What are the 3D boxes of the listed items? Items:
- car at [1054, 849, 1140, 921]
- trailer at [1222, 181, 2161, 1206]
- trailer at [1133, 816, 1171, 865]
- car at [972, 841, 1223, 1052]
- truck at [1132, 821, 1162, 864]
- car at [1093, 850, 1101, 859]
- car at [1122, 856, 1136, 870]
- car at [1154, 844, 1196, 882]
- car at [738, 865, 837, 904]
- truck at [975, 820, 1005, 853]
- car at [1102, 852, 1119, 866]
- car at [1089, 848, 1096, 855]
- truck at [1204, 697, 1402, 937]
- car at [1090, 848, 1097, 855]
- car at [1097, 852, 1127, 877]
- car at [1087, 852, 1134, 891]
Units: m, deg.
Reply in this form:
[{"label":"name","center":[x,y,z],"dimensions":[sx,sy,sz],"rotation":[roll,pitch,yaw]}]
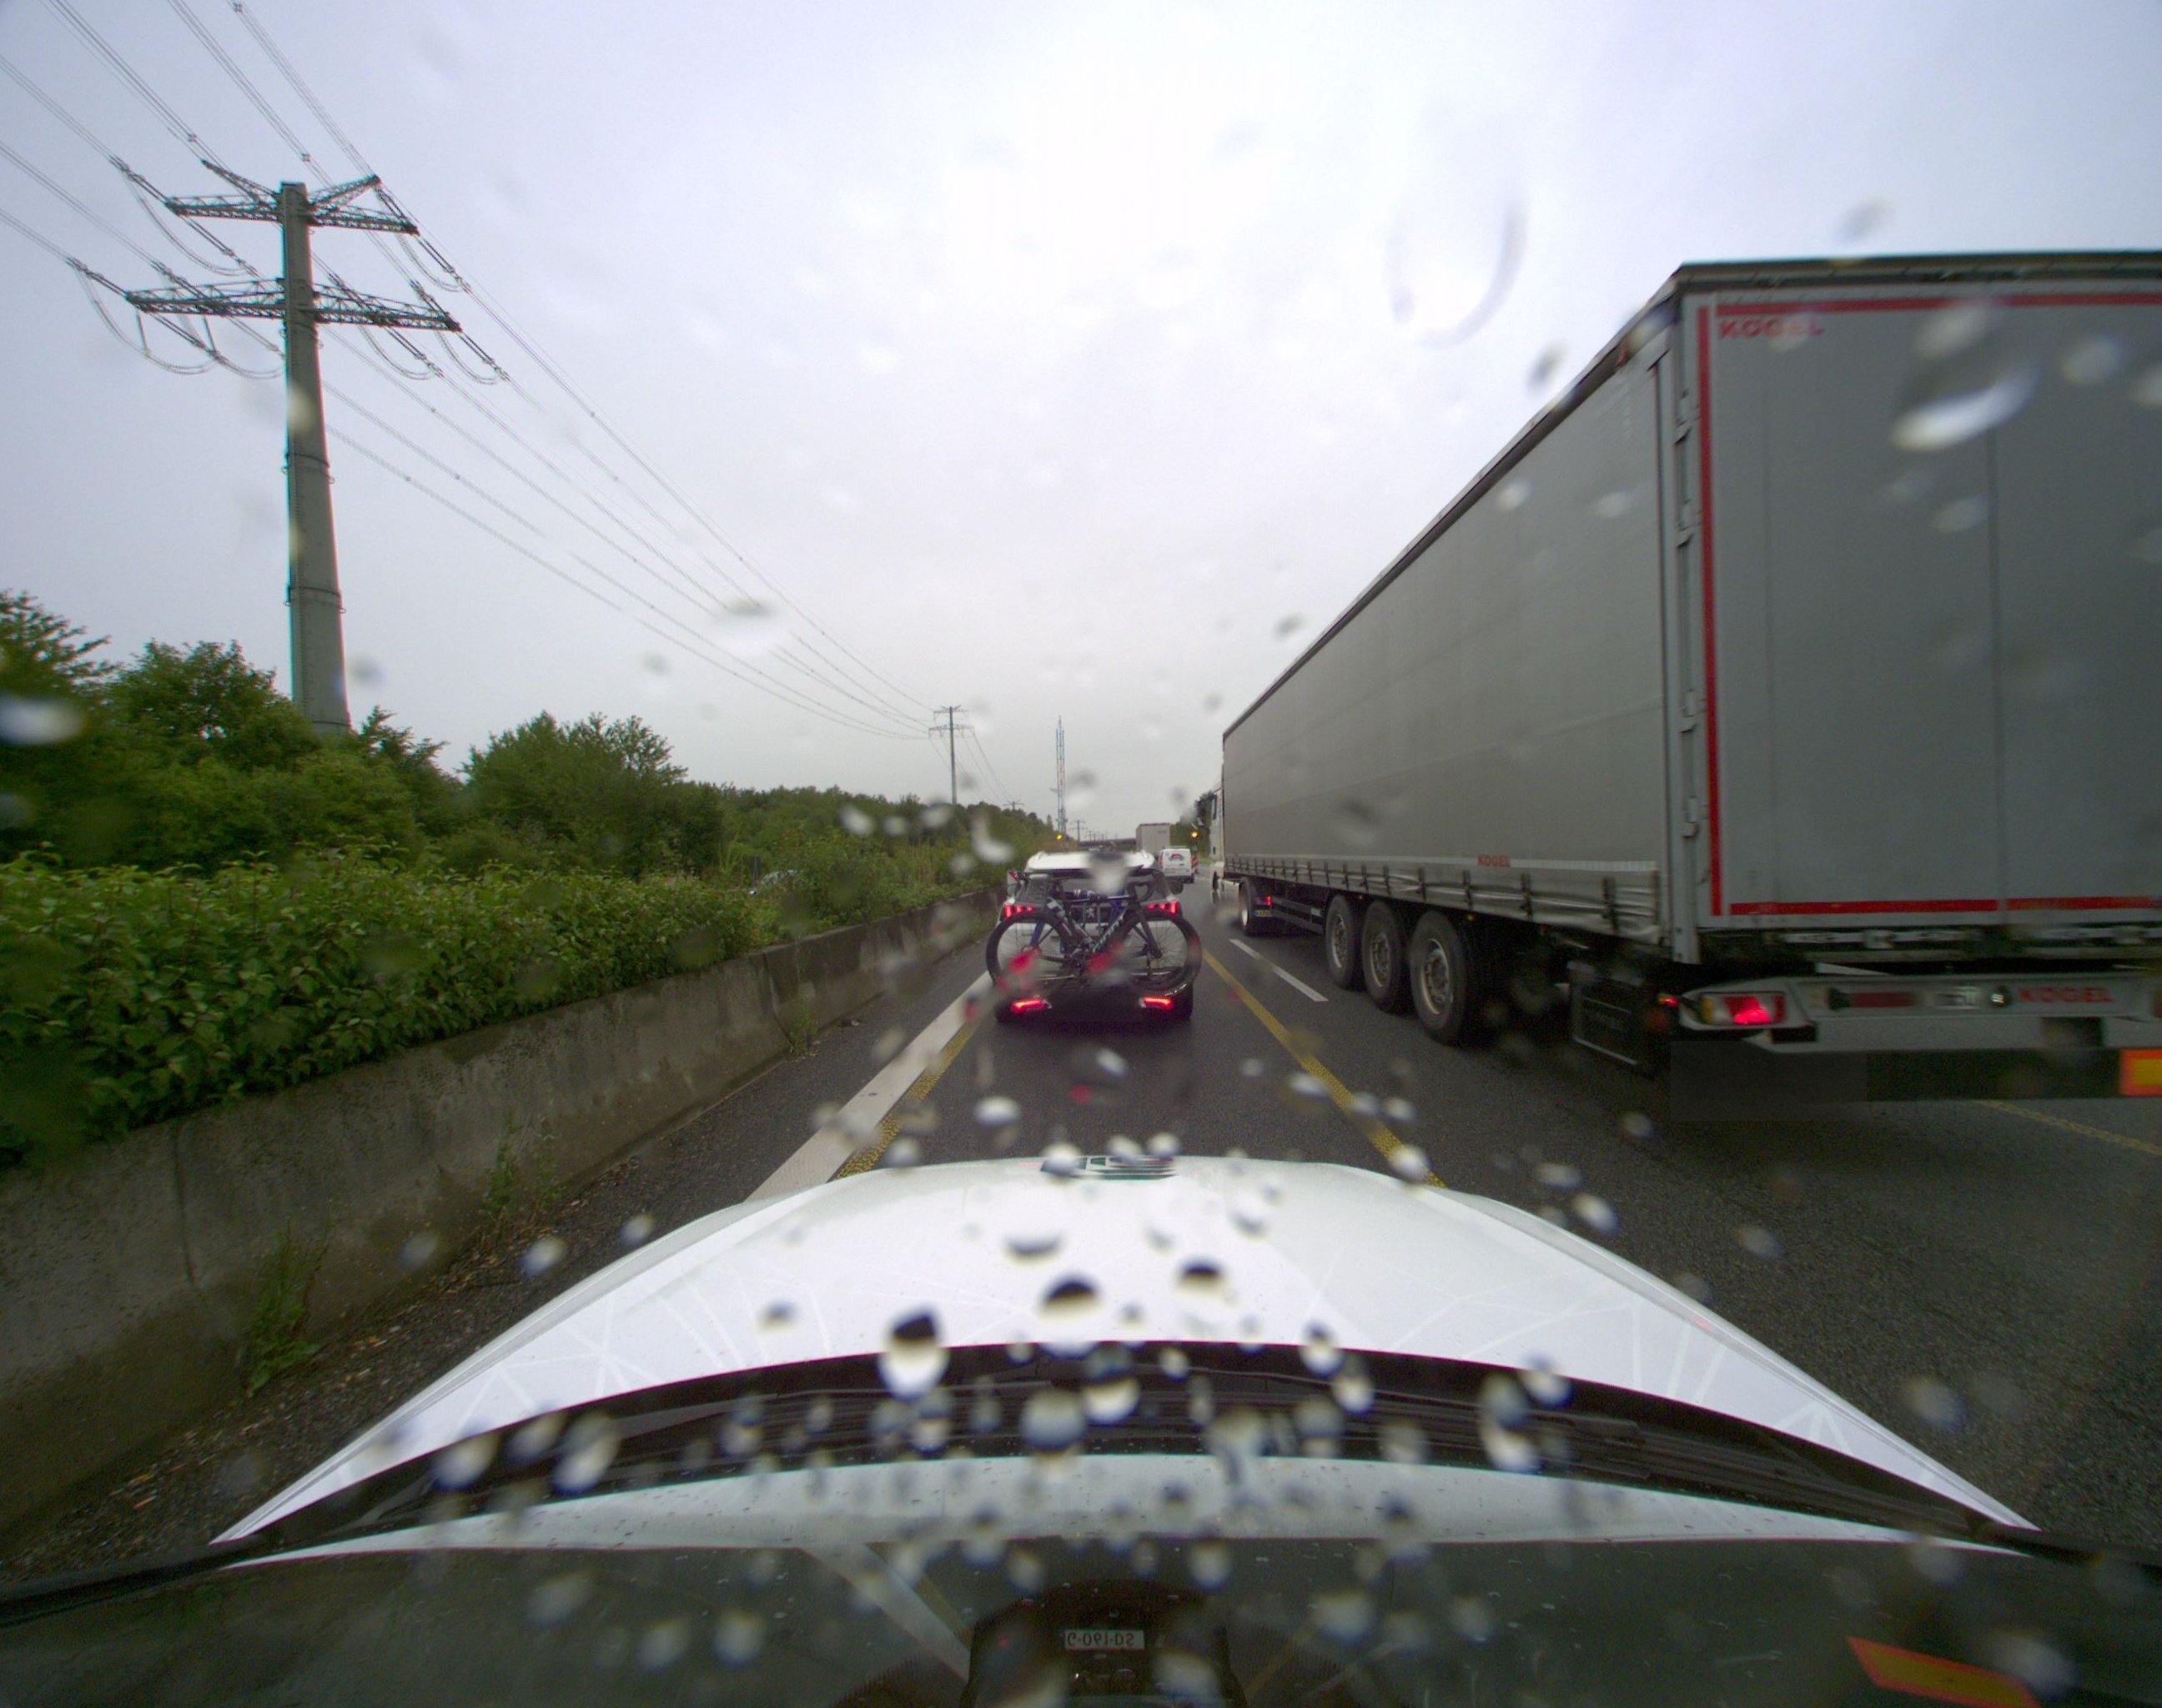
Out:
[{"label":"car","center":[0.405,0.672,19.737],"dimensions":[1.843,1.531,4.002],"rotation":[-1,0,2]},{"label":"trailer","center":[4.112,-0.663,10.185],"dimensions":[2.696,4.146,13.737],"rotation":[-1,0,2]},{"label":"trailer","center":[6.371,-1.164,75.189],"dimensions":[2.682,4.076,13.639],"rotation":[-1,0,2]},{"label":"car","center":[0.198,0.688,8.440],"dimensions":[1.843,1.531,4.770],"rotation":[-1,0,2]},{"label":"truck","center":[6.612,-1.135,81.981],"dimensions":[2.650,4.076,6.541],"rotation":[-1,0,2]},{"label":"car","center":[4.149,0.109,205.910],"dimensions":[1.924,1.973,4.002],"rotation":[-1,1,2]},{"label":"car","center":[7.356,1.395,125.131],"dimensions":[2.102,1.973,4.002],"rotation":[-1,1,2]},{"label":"car","center":[4.856,0.448,42.607],"dimensions":[1.822,1.839,4.657],"rotation":[-1,0,2]},{"label":"car","center":[-10.467,1.055,29.345],"dimensions":[1.986,1.191,4.002],"rotation":[-1,0,2]},{"label":"truck","center":[-11.808,-2.190,106.296],"dimensions":[2.776,4.023,7.235],"rotation":[-4,0,1]},{"label":"car","center":[3.342,0.522,91.575],"dimensions":[1.843,1.531,4.002],"rotation":[-1,0,2]},{"label":"car","center":[3.192,-0.605,223.833],"dimensions":[1.924,1.910,4.002],"rotation":[-1,1,2]},{"label":"truck","center":[4.299,-0.647,17.062],"dimensions":[2.696,4.138,5.693],"rotation":[-1,0,2]},{"label":"car","center":[3.678,-0.800,236.641],"dimensions":[1.924,1.973,4.002],"rotation":[-1,1,2]},{"label":"car","center":[1.988,0.640,52.118],"dimensions":[1.843,1.531,4.002],"rotation":[-1,0,2]},{"label":"car","center":[1.232,0.686,34.128],"dimensions":[1.843,1.531,4.002],"rotation":[-1,0,2]}]
